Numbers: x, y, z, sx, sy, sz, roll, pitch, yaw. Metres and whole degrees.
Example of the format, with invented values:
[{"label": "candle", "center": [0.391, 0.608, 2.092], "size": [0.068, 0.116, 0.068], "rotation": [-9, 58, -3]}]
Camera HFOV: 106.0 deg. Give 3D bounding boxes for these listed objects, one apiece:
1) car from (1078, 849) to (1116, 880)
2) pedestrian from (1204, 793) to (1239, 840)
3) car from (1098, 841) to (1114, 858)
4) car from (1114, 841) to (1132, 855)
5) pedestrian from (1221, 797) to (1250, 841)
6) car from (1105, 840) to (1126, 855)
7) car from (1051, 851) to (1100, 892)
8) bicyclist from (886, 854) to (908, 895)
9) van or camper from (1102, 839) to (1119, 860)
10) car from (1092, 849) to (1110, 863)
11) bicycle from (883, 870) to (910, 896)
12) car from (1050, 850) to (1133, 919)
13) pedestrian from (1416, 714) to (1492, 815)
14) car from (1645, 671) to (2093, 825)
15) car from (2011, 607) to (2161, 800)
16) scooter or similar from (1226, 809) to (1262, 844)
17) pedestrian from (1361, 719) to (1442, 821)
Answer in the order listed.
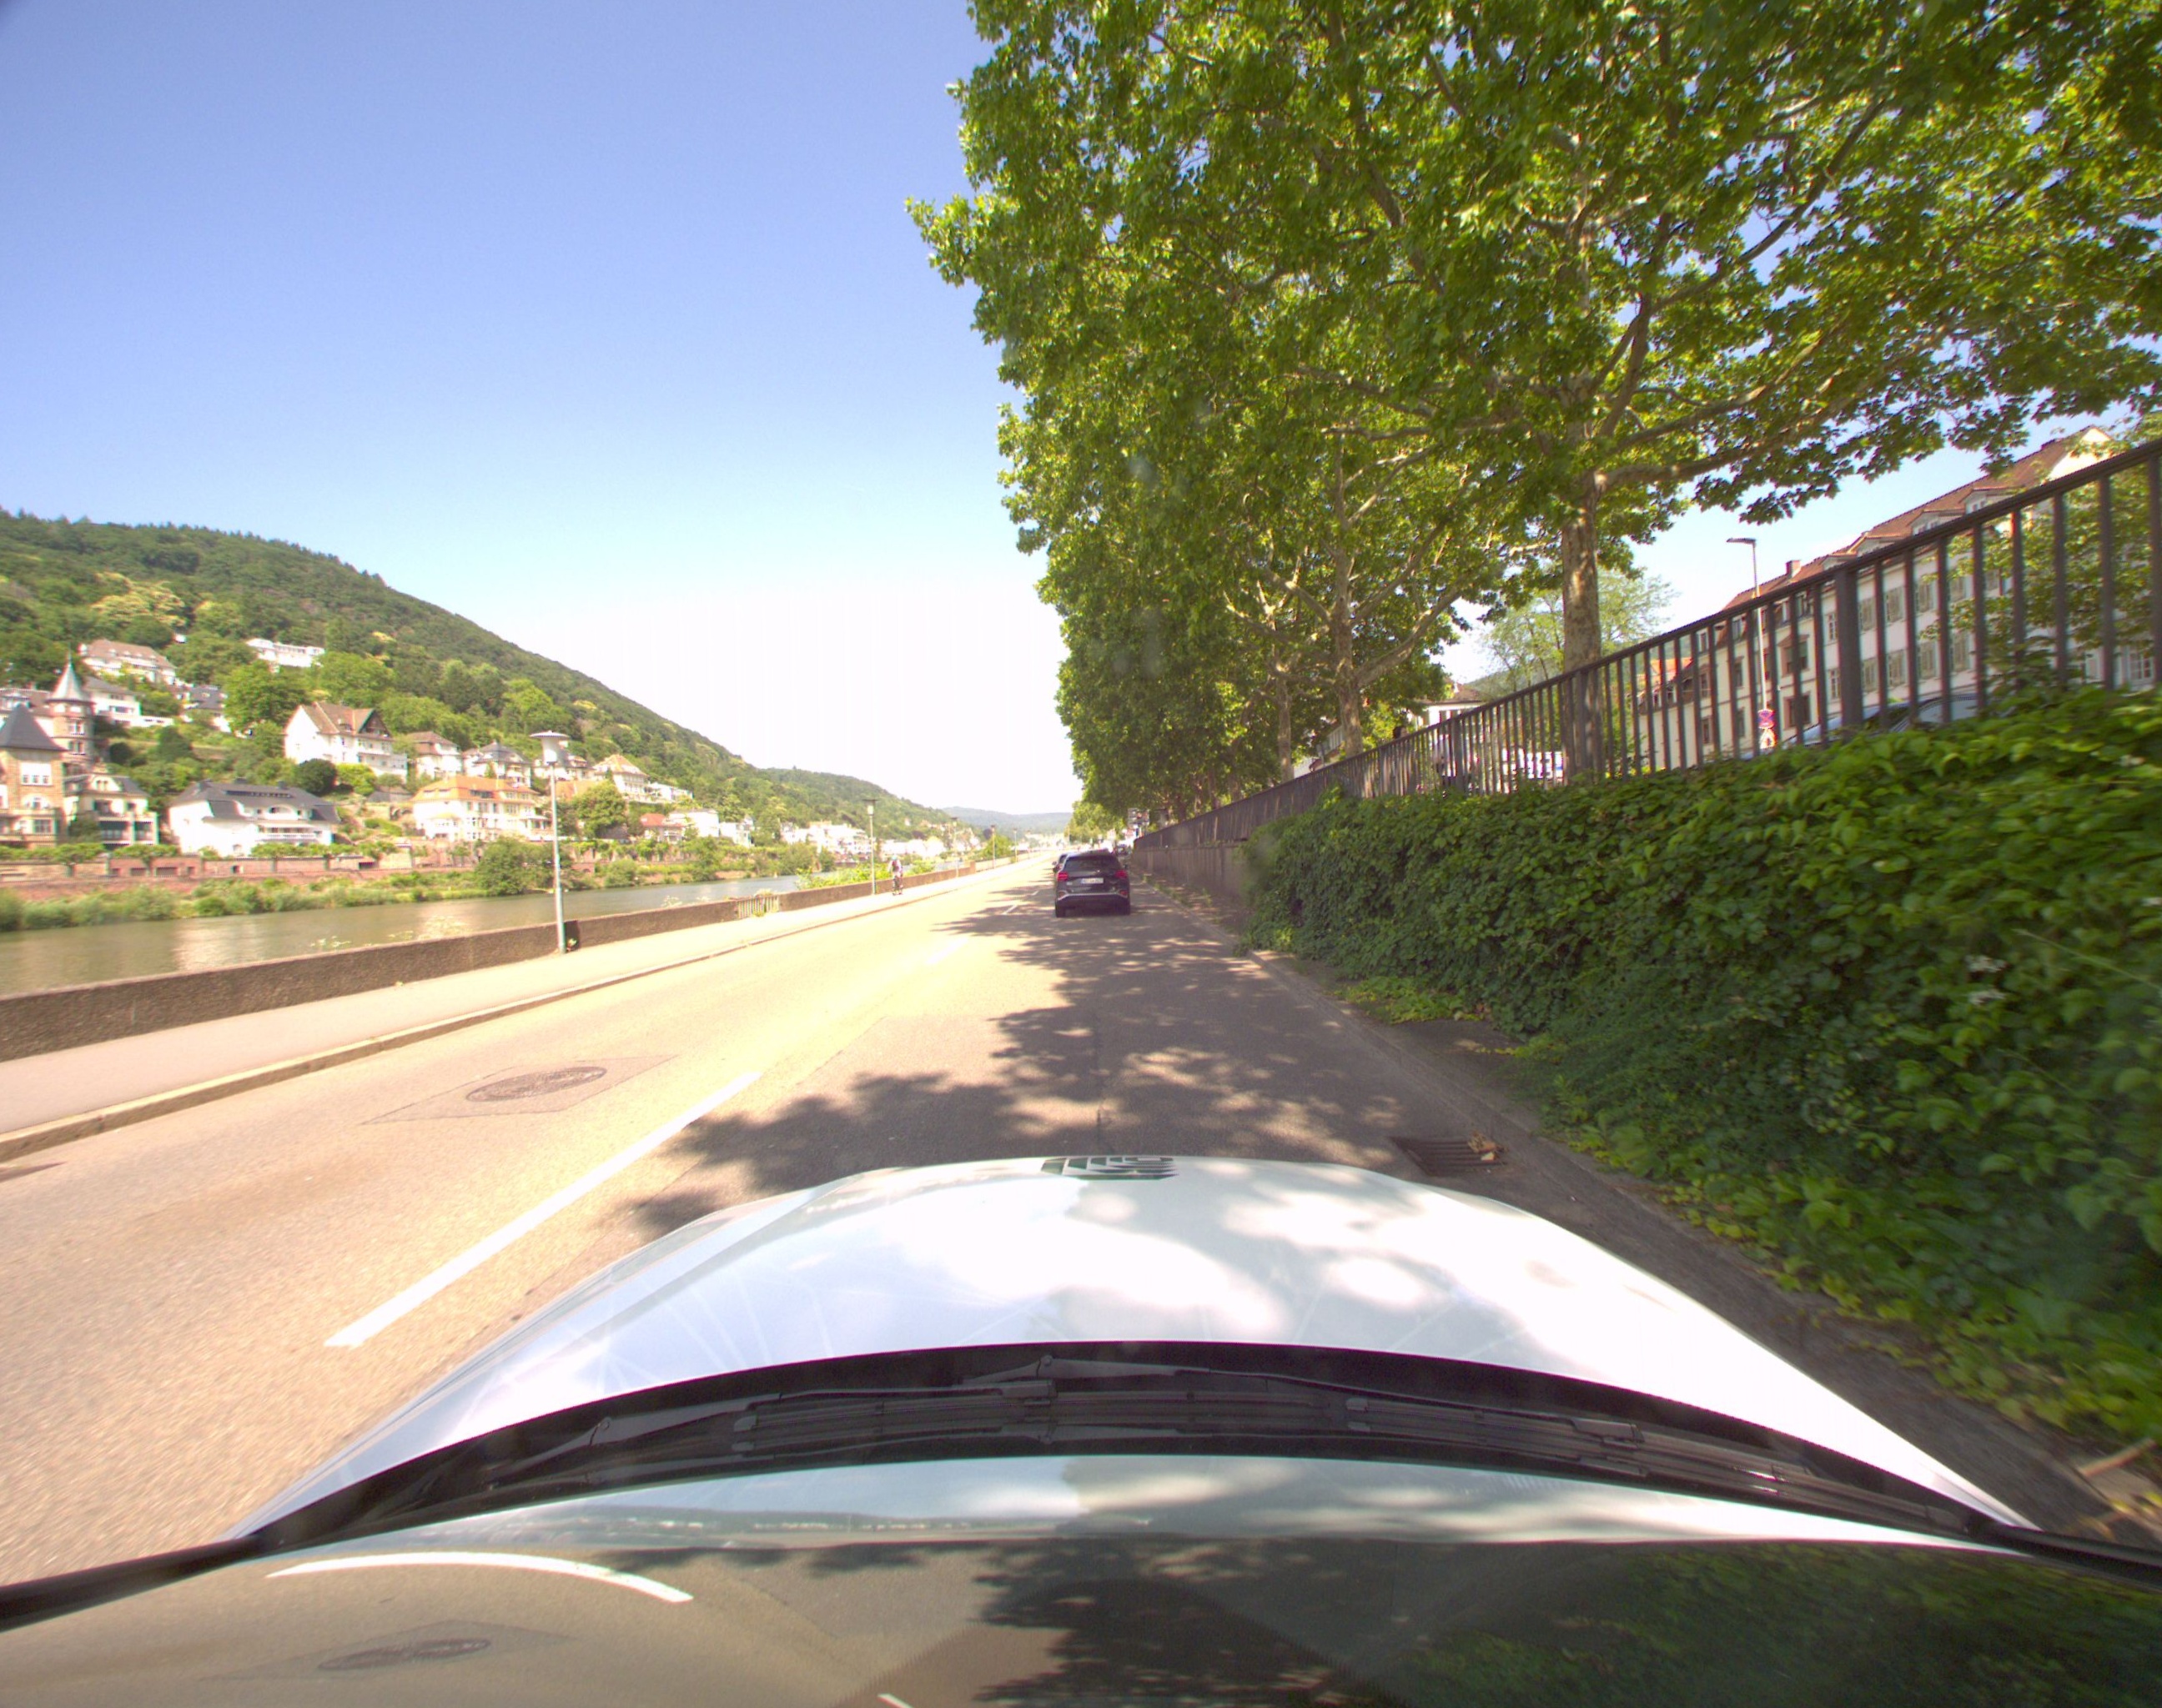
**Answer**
[{"label": "car", "center": [0.801, 0.497, 42.122], "size": [1.822, 1.486, 4.000], "rotation": [-2, 0, 0]}, {"label": "pedestrian", "center": [5.135, -1.361, 29.847], "size": [0.934, 1.579, 1.027], "rotation": [-5, 0, -1]}, {"label": "car", "center": [3.420, -0.627, 111.613], "size": [1.987, 2.169, 4.000], "rotation": [-3, 0, 0]}, {"label": "car", "center": [7.216, -1.053, 141.292], "size": [2.653, 2.013, 5.824], "rotation": [-5, 0, 0]}, {"label": "pedestrian", "center": [5.129, -1.165, 27.073], "size": [0.678, 1.365, 0.989], "rotation": [-5, 0, 0]}, {"label": "car", "center": [5.533, -1.043, 131.466], "size": [3.088, 2.013, 5.824], "rotation": [-5, 0, 0]}, {"label": "car", "center": [-0.203, 0.670, 33.542], "size": [1.822, 1.511, 4.000], "rotation": [-2, 0, 0]}, {"label": "bicyclist", "center": [-7.849, 0.861, 34.814], "size": [0.635, 1.673, 0.871], "rotation": [-3, 0, 0]}, {"label": "van or camper", "center": [4.399, -0.680, 120.656], "size": [2.301, 2.847, 4.248], "rotation": [-3, 0, 2]}, {"label": "car", "center": [2.100, 0.156, 87.782], "size": [1.822, 1.444, 4.000], "rotation": [-2, 0, 0]}, {"label": "bicycle", "center": [-7.881, 1.213, 34.834], "size": [0.630, 1.012, 1.986], "rotation": [-3, 0, 0]}, {"label": "car", "center": [0.252, 0.679, 20.455], "size": [1.822, 1.486, 4.000], "rotation": [-2, 0, 0]}, {"label": "pedestrian", "center": [5.529, -1.312, 12.120], "size": [0.642, 1.365, 0.794], "rotation": [-5, 0, -1]}, {"label": "car", "center": [8.703, -1.126, 9.211], "size": [3.510, 1.235, 1.515], "rotation": [-5, 0, 1]}, {"label": "car", "center": [9.085, -1.202, 5.653], "size": [3.723, 1.235, 1.670], "rotation": [-5, 0, -8]}, {"label": "scooter or similar", "center": [5.228, -0.865, 26.118], "size": [0.852, 1.026, 1.107], "rotation": [-5, 0, 0]}, {"label": "pedestrian", "center": [4.708, -1.216, 12.027], "size": [0.751, 1.365, 0.814], "rotation": [-5, 0, -1]}]
